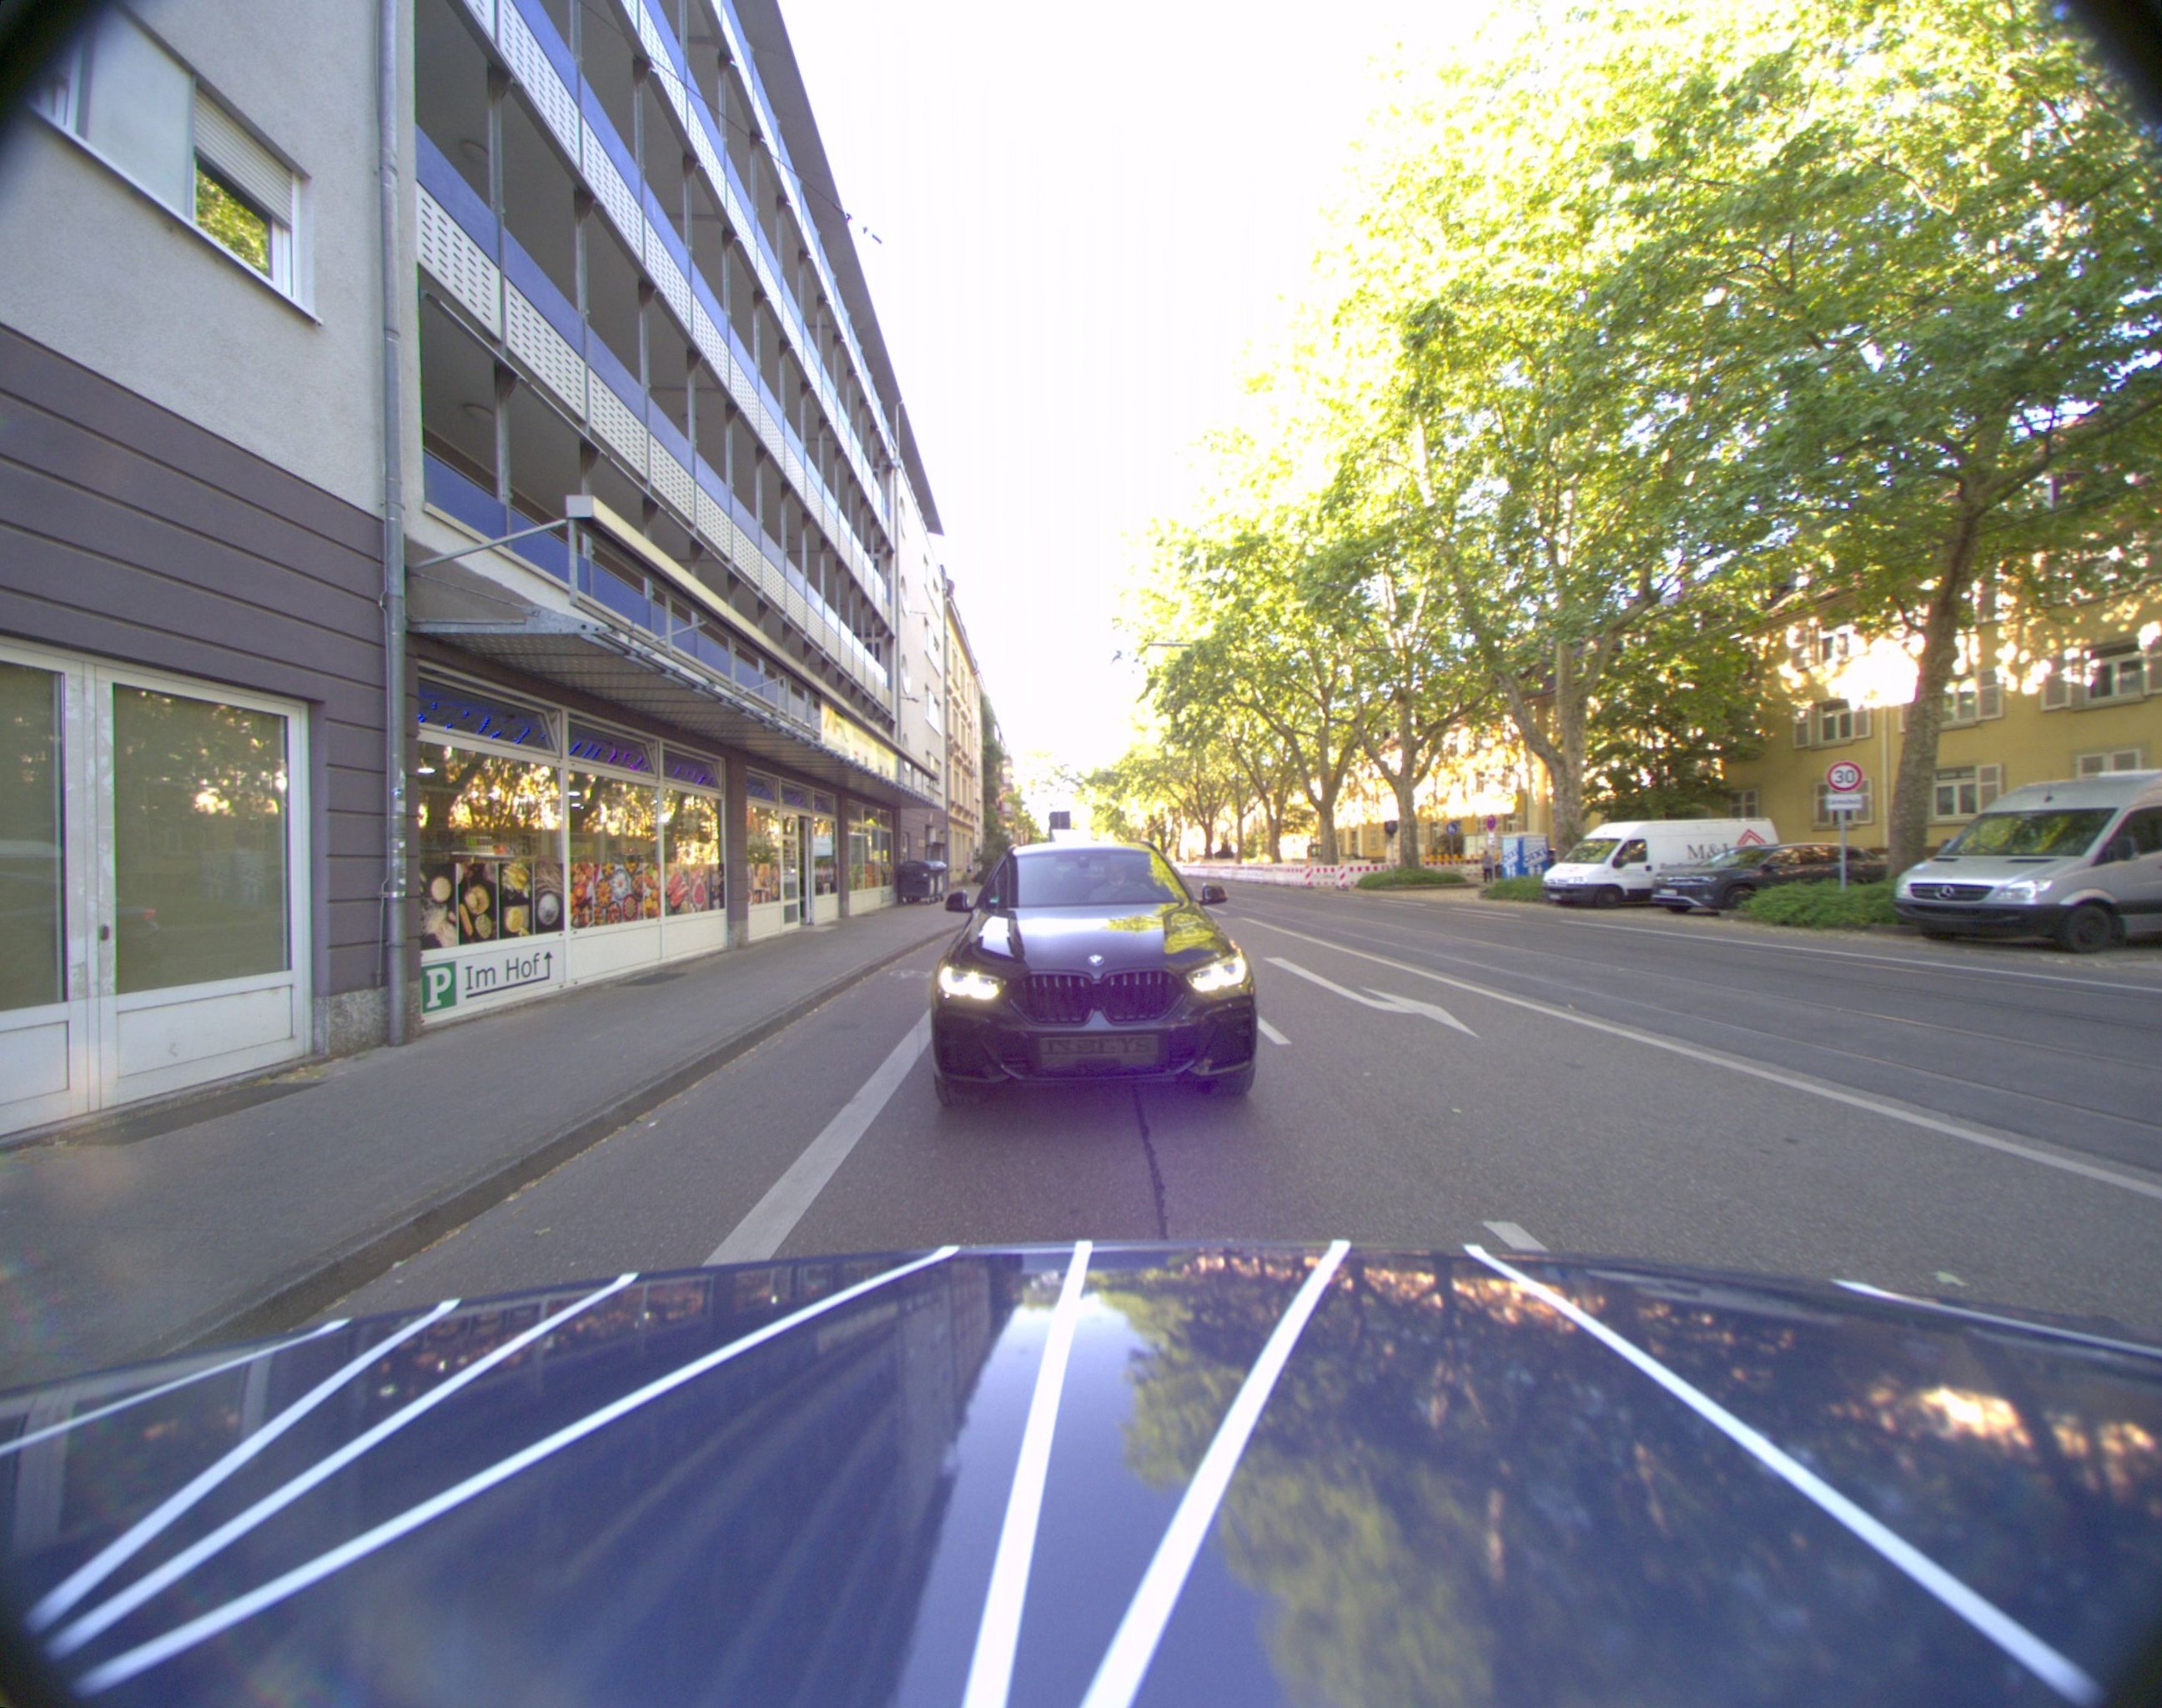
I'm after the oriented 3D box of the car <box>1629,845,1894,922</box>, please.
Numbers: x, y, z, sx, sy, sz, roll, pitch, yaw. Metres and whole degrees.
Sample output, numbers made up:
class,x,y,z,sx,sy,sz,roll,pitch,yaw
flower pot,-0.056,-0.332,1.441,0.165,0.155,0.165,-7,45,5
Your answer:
class,x,y,z,sx,sy,sz,roll,pitch,yaw
car,15.937,0.661,17.973,4.575,1.621,1.969,-1,0,-2

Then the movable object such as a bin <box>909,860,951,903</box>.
class,x,y,z,sx,sy,sz,roll,pitch,yaw
movable object such as a bin,-5.291,0.954,26.706,1.122,1.437,1.306,-1,0,4

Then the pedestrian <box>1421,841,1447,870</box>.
class,x,y,z,sx,sy,sz,roll,pitch,yaw
pedestrian,24.037,0.102,51.788,1.098,2.002,1.235,-1,0,-4

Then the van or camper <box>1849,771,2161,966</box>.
class,x,y,z,sx,sy,sz,roll,pitch,yaw
van or camper,16.086,0.132,11.800,6.127,2.661,2.229,-2,0,-2

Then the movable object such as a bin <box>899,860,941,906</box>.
class,x,y,z,sx,sy,sz,roll,pitch,yaw
movable object such as a bin,-5.231,0.934,24.811,1.069,1.438,1.296,-1,0,-1

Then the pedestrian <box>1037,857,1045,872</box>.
class,x,y,z,sx,sy,sz,roll,pitch,yaw
pedestrian,-4.590,1.204,87.369,0.876,1.728,0.848,-3,1,1

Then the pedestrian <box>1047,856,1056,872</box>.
class,x,y,z,sx,sy,sz,roll,pitch,yaw
pedestrian,-3.427,1.146,87.468,0.876,1.728,0.848,-3,1,1

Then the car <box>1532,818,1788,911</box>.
class,x,y,z,sx,sy,sz,roll,pitch,yaw
car,15.848,0.279,20.999,5.612,2.361,2.025,-1,0,-2

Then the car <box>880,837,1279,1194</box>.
class,x,y,z,sx,sy,sz,roll,pitch,yaw
car,0.017,0.825,6.057,1.943,1.733,4.475,-2,0,1

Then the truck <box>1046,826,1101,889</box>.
class,x,y,z,sx,sy,sz,roll,pitch,yaw
truck,-0.579,0.204,43.155,2.385,3.165,8.525,2,0,-5

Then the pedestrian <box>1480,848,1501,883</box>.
class,x,y,z,sx,sy,sz,roll,pitch,yaw
pedestrian,18.335,0.522,34.050,0.596,1.563,0.718,-1,0,8
